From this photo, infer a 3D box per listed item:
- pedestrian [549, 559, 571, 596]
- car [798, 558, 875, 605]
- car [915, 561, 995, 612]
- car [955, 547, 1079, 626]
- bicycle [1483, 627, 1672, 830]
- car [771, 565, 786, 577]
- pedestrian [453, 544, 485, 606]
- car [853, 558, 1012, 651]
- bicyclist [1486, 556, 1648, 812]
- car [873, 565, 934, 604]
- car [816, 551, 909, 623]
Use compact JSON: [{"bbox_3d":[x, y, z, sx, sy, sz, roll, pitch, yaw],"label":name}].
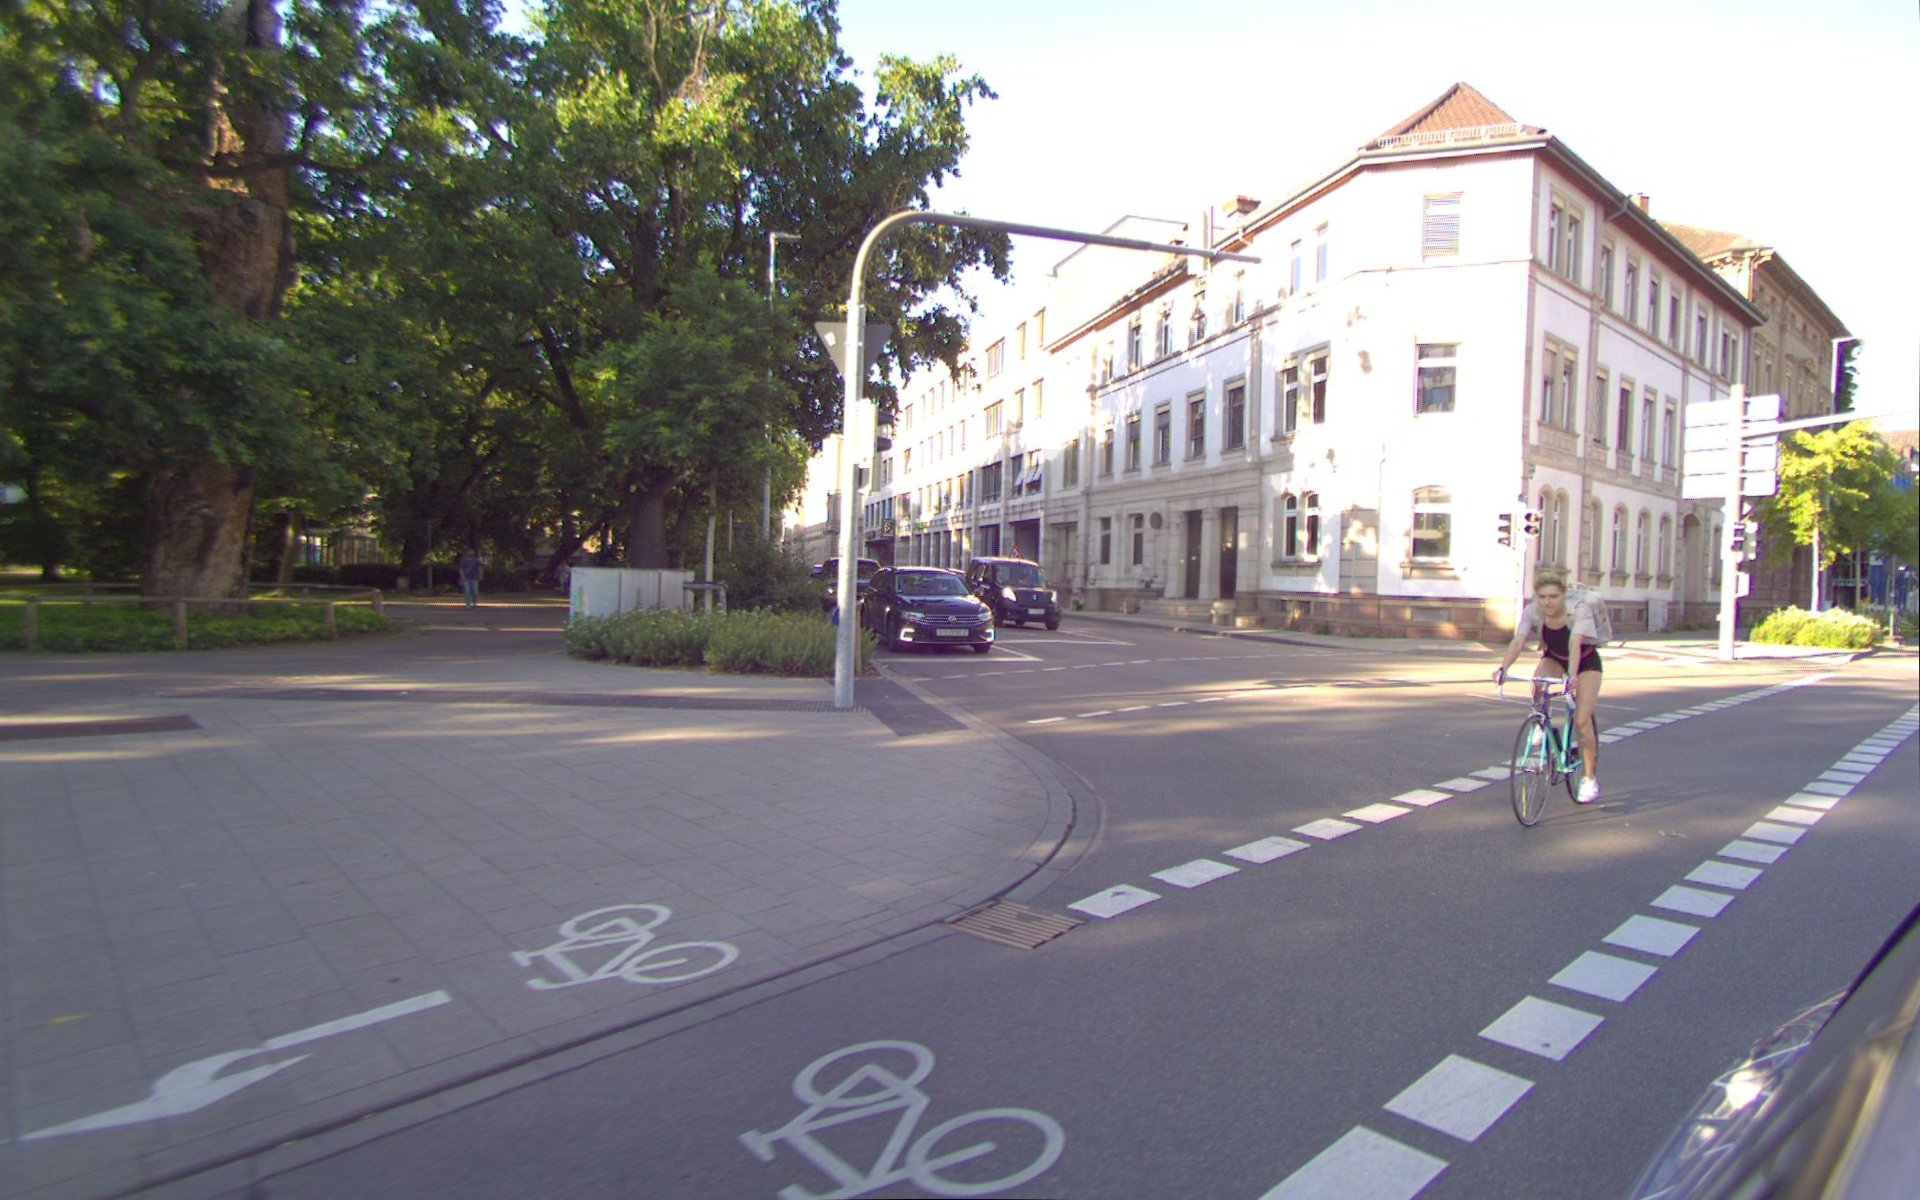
[{"bbox_3d":[-19.550,-1.086,49.519,0.769,1.750,0.808,2,3,-6],"label":"pedestrian"},{"bbox_3d":[-4.112,-0.640,33.089,1.863,1.398,4.246,0,2,-16],"label":"car"},{"bbox_3d":[-0.230,-0.499,33.668,1.702,1.529,3.538,3,1,-16],"label":"car"},{"bbox_3d":[1.390,-0.407,26.688,1.908,1.827,4.258,3,1,-16],"label":"car"},{"bbox_3d":[4.136,0.775,6.724,1.810,1.111,0.521,-1,2,-41],"label":"bicycle"},{"bbox_3d":[-24.556,-3.957,137.172,1.597,1.432,3.659,3,1,-16],"label":"car"},{"bbox_3d":[-14.450,-0.737,29.795,0.769,1.750,0.808,1,3,-29],"label":"pedestrian"},{"bbox_3d":[-0.670,-0.019,18.885,1.863,1.492,4.613,0,2,-16],"label":"car"},{"bbox_3d":[3.933,0.491,6.542,1.062,1.509,0.553,1,1,-41],"label":"bicyclist"},{"bbox_3d":[-2.326,-0.659,40.800,1.597,1.432,3.659,3,1,-16],"label":"car"},{"bbox_3d":[-2.581,-0.393,25.802,1.863,1.673,4.548,0,2,-12],"label":"car"}]
